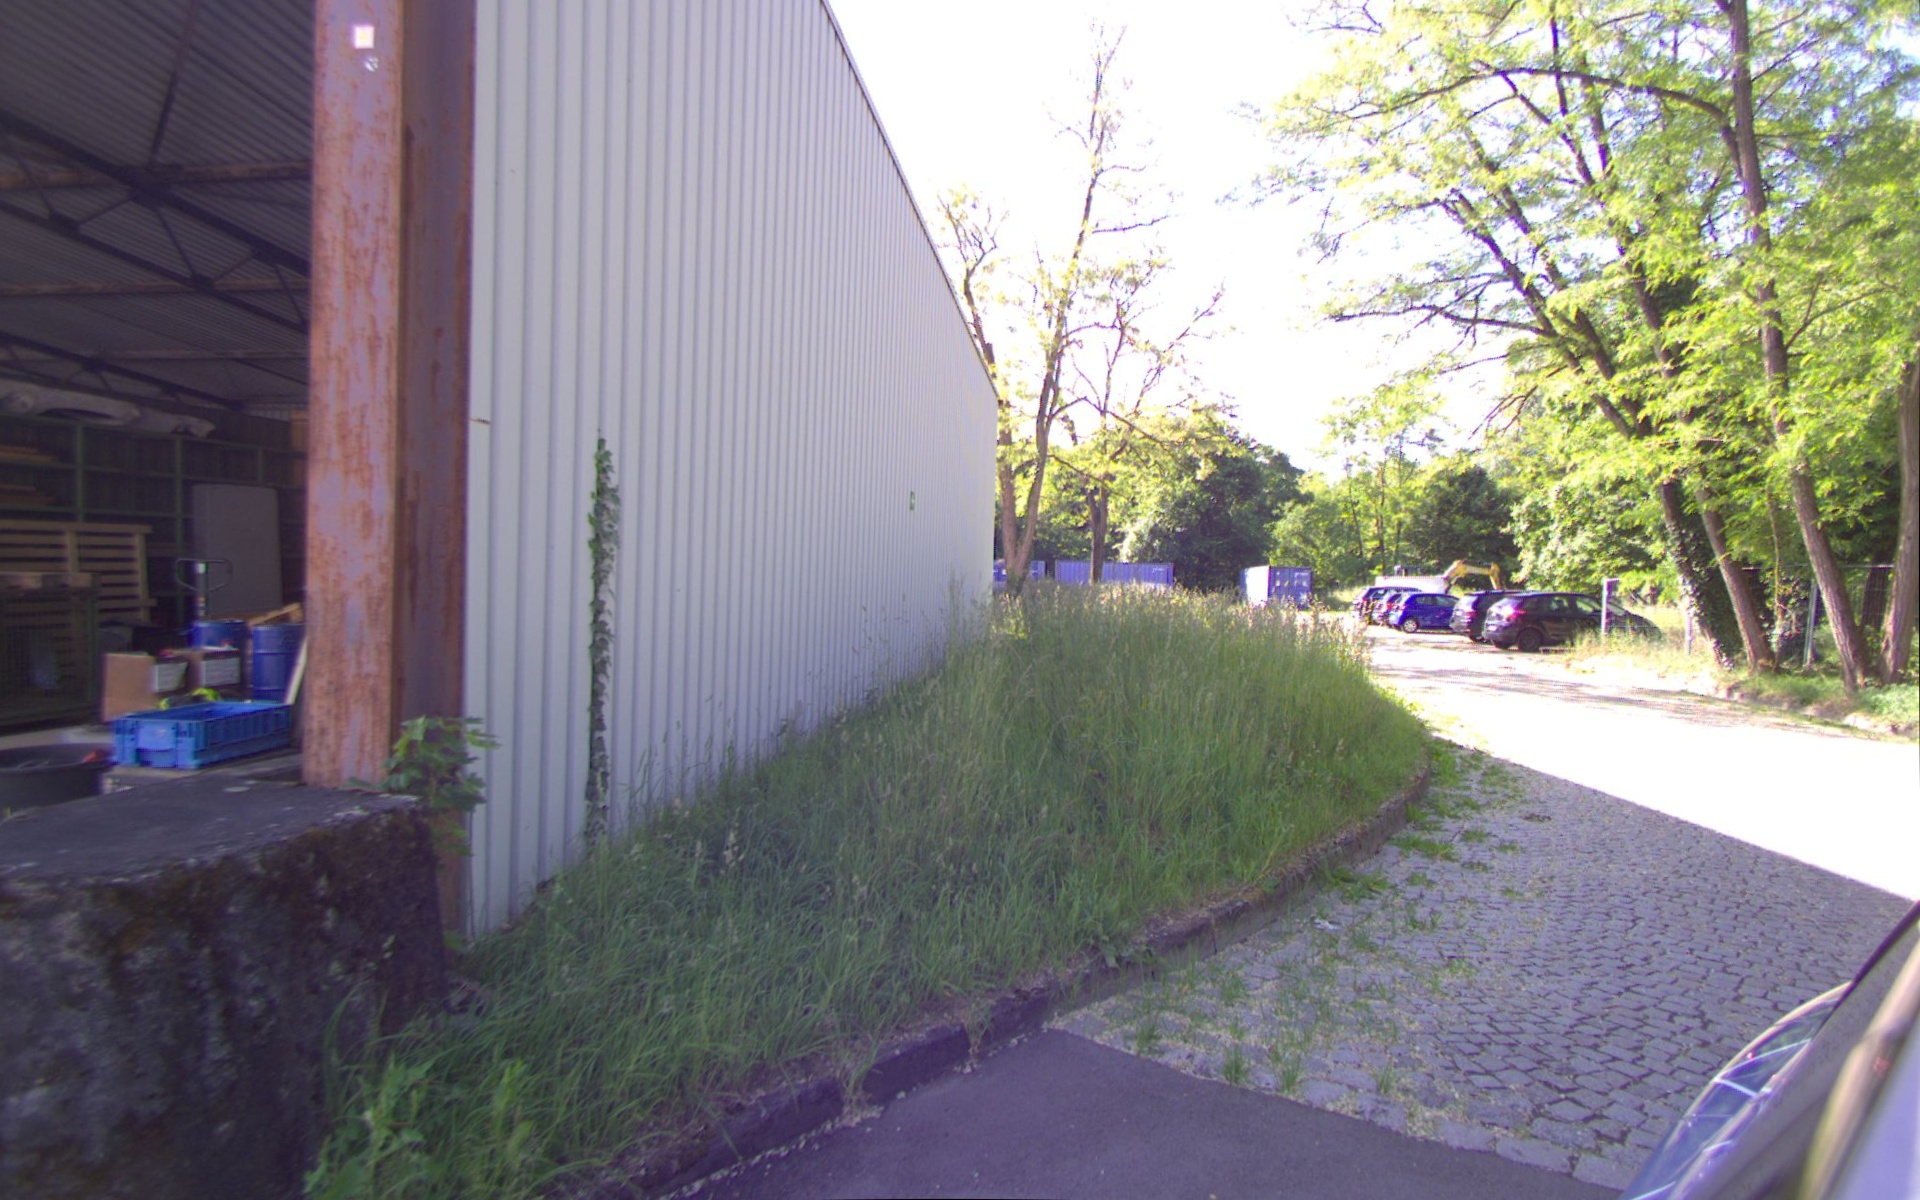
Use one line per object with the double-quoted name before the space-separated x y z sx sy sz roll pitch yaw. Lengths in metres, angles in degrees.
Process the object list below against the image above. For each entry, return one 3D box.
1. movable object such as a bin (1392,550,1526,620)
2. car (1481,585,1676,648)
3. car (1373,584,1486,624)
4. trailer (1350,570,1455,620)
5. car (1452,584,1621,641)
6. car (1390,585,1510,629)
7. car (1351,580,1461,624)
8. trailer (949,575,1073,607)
"movable object such as a bin" 22.762 -0.690 46.407 5.090 3.003 1.991 2 1 15
"car" 17.047 0.436 28.081 4.224 1.673 1.791 -1 1 5
"car" 18.133 0.133 39.242 3.604 1.469 1.829 0 1 10
"trailer" 19.352 -0.243 44.423 3.910 2.120 1.634 0 1 11
"car" 17.699 0.359 31.248 4.122 1.677 1.813 0 1 9
"car" 17.686 0.237 36.681 3.607 1.512 1.708 -1 0 13
"car" 18.296 0.066 41.685 3.762 1.661 1.861 1 1 12
"trailer" 2.817 -0.507 54.791 6.388 1.536 2.848 1 2 10
